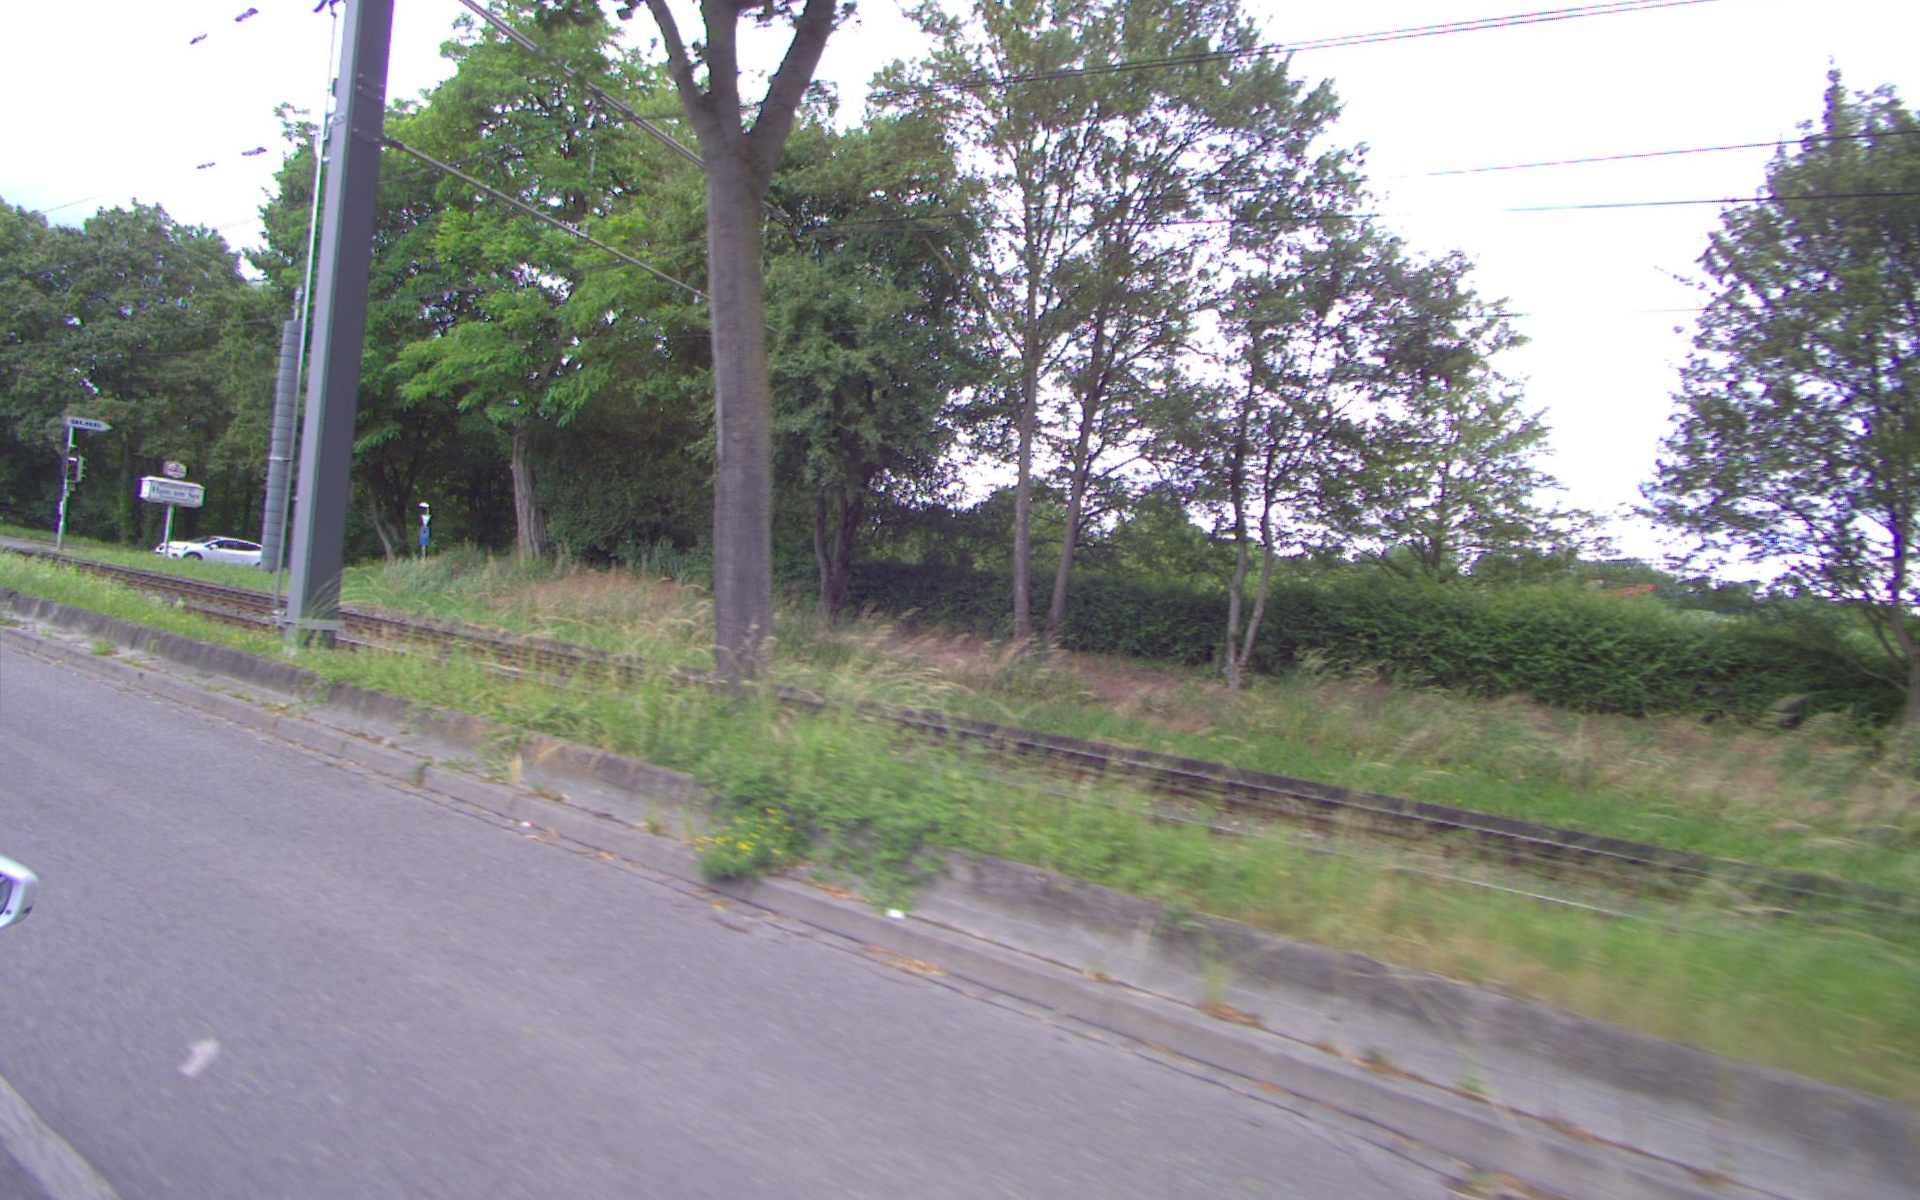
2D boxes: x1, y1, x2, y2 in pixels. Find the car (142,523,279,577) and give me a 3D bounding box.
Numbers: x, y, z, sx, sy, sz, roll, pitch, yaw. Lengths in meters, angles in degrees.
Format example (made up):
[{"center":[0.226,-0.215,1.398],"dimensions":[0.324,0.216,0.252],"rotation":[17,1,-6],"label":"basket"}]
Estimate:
[{"center":[-31.025,-2.024,41.777],"dimensions":[1.965,1.368,4.005],"rotation":[7,-5,26],"label":"car"}]
